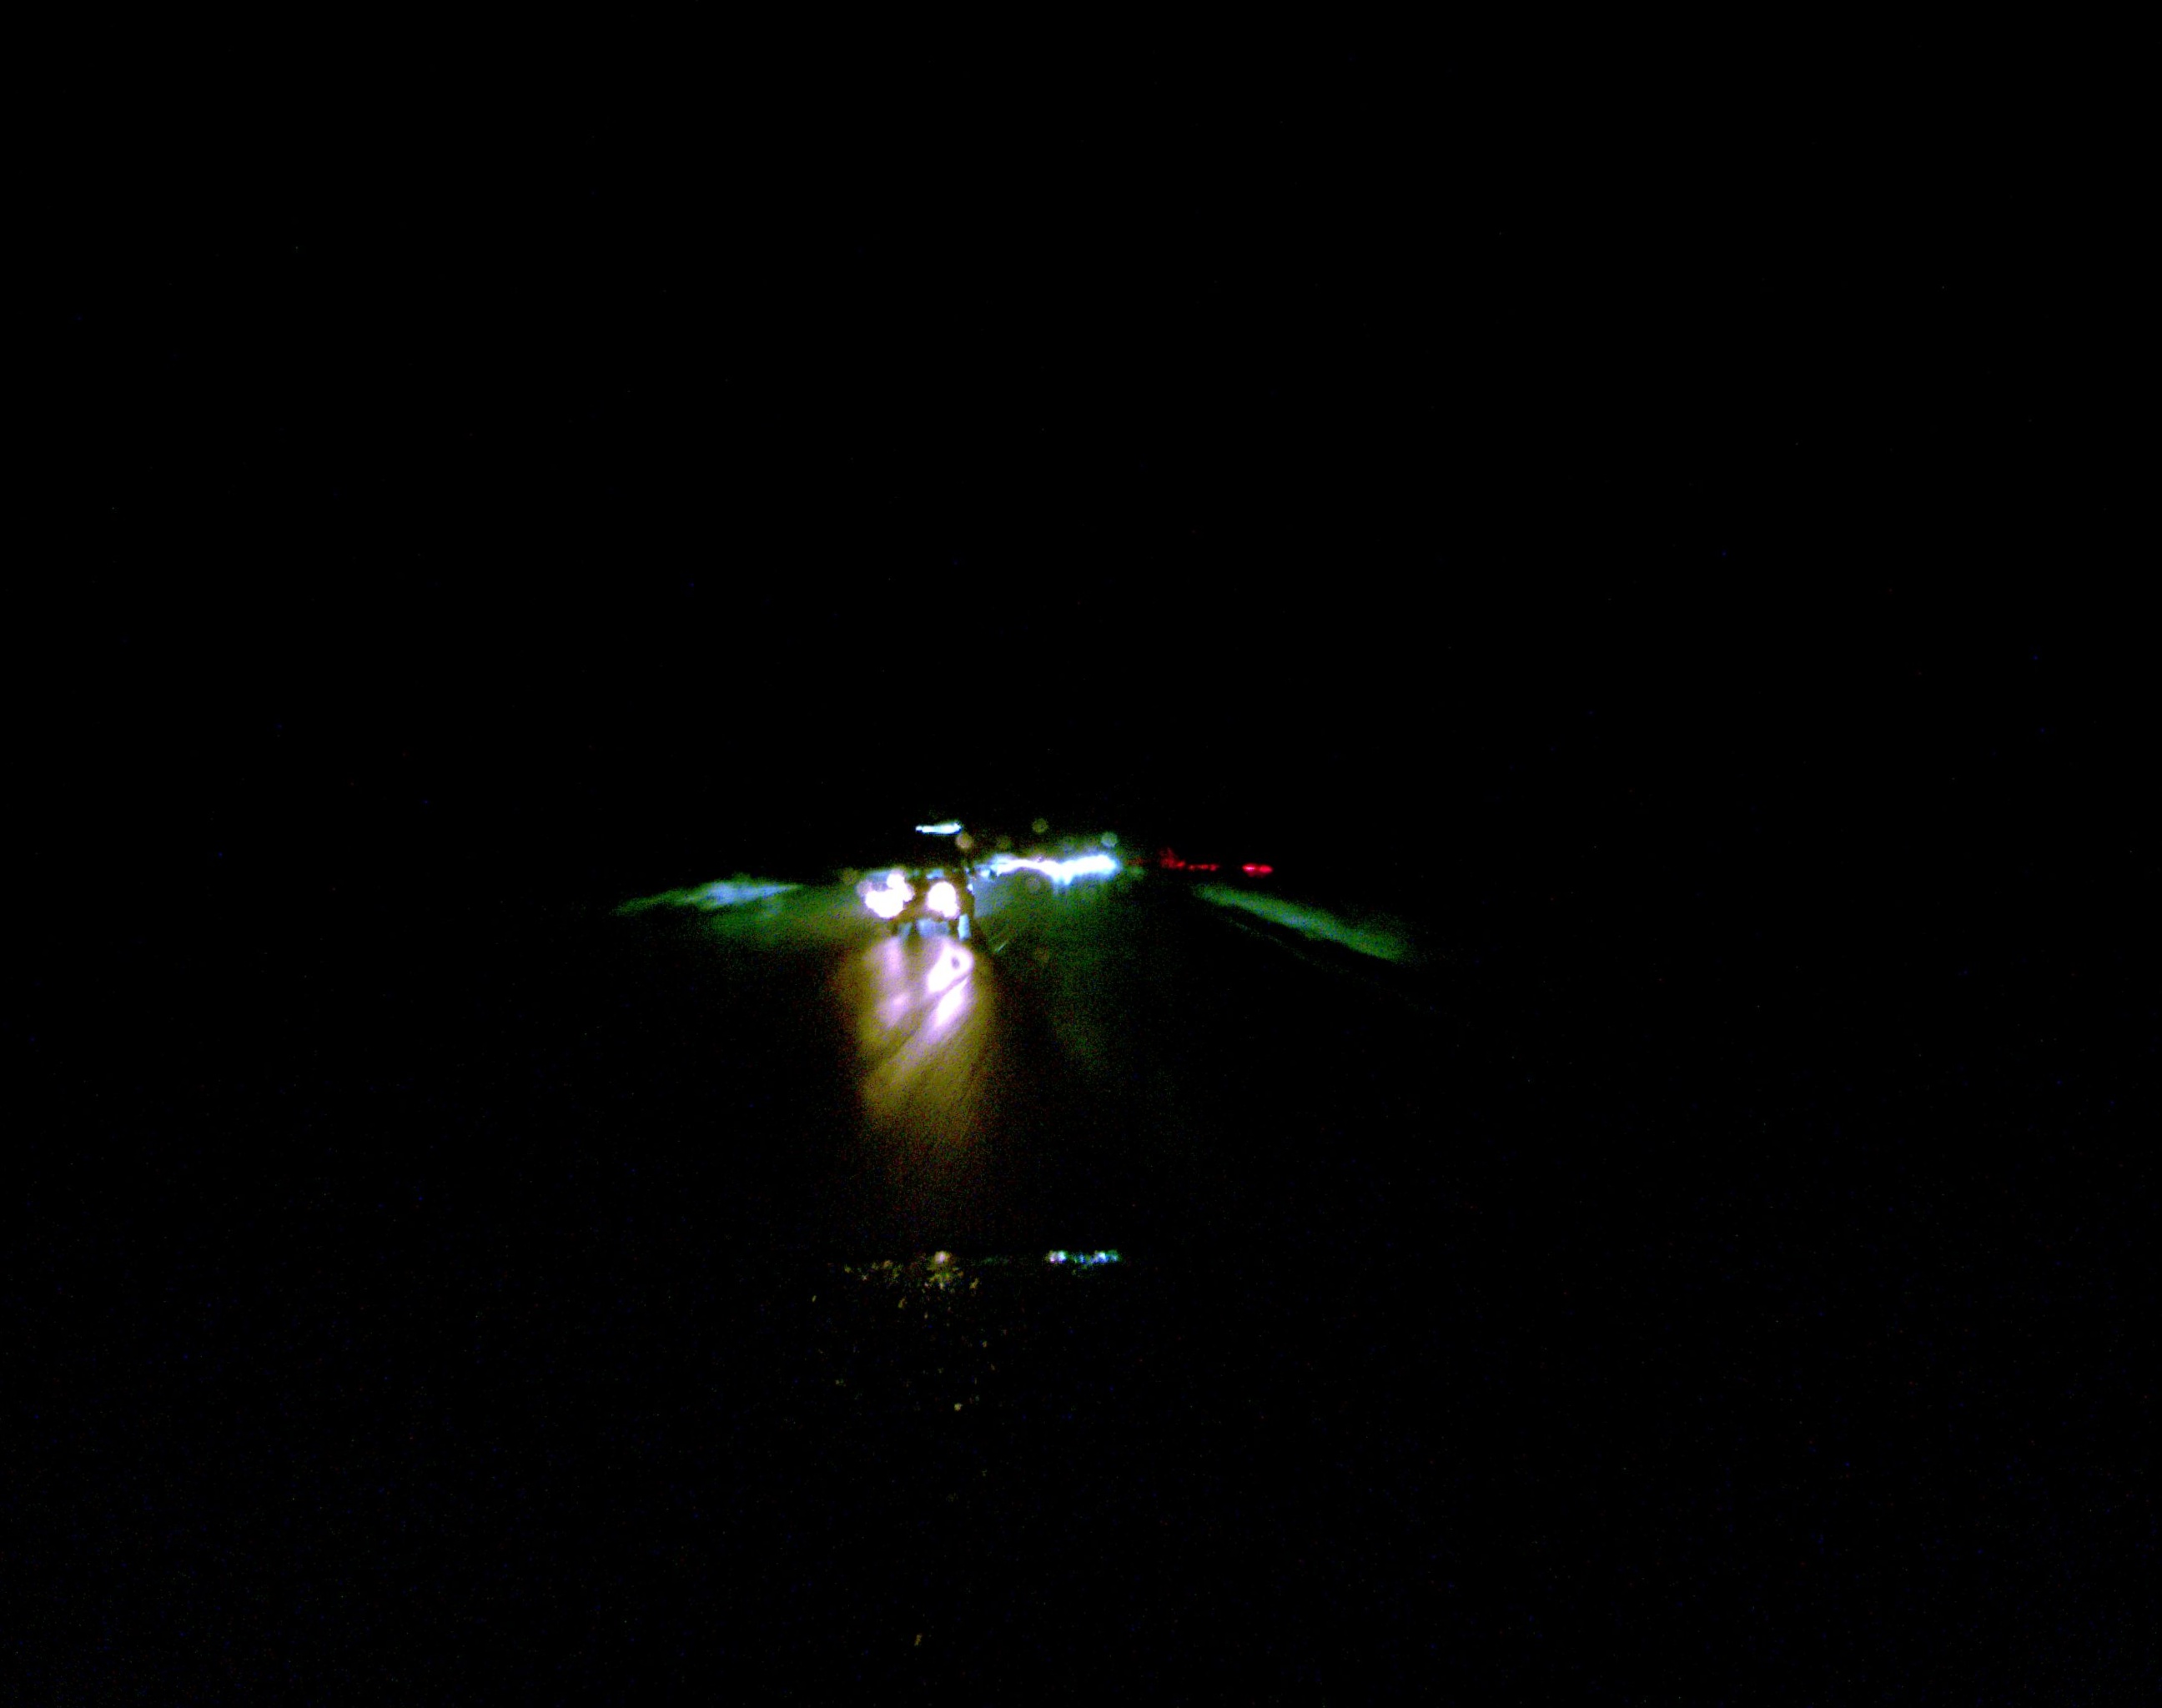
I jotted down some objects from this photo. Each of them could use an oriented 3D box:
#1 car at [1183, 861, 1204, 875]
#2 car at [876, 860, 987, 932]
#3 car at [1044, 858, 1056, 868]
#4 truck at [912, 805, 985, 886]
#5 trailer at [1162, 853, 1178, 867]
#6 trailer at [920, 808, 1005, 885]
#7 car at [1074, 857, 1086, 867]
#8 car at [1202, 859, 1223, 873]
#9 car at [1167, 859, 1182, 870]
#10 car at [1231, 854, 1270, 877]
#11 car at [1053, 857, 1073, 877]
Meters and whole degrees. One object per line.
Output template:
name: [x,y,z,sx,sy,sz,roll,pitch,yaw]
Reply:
car: [14.628,1.824,98.604,1.999,1.750,4.000,-2,-1,-1]
car: [-3.616,0.957,19.209,1.745,1.566,4.495,-1,0,2]
car: [-4.922,1.468,121.062,1.644,1.494,4.014,-1,-1,-1]
truck: [-7.112,-0.396,41.655,2.910,4.084,6.031,0,-1,1]
trailer: [22.397,1.591,191.649,3.082,3.276,13.159,0,-1,2]
trailer: [-7.018,-0.304,47.765,2.910,4.084,14.489,0,-1,1]
car: [-0.156,1.458,136.040,1.883,1.653,4.001,-3,-2,0]
car: [19.264,1.774,111.630,1.999,1.804,5.094,-2,-1,-1]
car: [15.835,1.848,128.749,1.998,1.750,4.656,-2,-1,0]
car: [13.916,0.970,62.600,1.999,1.750,4.960,-2,-1,-1]
car: [-1.888,1.431,81.705,1.999,2.001,4.000,-2,-1,-1]
